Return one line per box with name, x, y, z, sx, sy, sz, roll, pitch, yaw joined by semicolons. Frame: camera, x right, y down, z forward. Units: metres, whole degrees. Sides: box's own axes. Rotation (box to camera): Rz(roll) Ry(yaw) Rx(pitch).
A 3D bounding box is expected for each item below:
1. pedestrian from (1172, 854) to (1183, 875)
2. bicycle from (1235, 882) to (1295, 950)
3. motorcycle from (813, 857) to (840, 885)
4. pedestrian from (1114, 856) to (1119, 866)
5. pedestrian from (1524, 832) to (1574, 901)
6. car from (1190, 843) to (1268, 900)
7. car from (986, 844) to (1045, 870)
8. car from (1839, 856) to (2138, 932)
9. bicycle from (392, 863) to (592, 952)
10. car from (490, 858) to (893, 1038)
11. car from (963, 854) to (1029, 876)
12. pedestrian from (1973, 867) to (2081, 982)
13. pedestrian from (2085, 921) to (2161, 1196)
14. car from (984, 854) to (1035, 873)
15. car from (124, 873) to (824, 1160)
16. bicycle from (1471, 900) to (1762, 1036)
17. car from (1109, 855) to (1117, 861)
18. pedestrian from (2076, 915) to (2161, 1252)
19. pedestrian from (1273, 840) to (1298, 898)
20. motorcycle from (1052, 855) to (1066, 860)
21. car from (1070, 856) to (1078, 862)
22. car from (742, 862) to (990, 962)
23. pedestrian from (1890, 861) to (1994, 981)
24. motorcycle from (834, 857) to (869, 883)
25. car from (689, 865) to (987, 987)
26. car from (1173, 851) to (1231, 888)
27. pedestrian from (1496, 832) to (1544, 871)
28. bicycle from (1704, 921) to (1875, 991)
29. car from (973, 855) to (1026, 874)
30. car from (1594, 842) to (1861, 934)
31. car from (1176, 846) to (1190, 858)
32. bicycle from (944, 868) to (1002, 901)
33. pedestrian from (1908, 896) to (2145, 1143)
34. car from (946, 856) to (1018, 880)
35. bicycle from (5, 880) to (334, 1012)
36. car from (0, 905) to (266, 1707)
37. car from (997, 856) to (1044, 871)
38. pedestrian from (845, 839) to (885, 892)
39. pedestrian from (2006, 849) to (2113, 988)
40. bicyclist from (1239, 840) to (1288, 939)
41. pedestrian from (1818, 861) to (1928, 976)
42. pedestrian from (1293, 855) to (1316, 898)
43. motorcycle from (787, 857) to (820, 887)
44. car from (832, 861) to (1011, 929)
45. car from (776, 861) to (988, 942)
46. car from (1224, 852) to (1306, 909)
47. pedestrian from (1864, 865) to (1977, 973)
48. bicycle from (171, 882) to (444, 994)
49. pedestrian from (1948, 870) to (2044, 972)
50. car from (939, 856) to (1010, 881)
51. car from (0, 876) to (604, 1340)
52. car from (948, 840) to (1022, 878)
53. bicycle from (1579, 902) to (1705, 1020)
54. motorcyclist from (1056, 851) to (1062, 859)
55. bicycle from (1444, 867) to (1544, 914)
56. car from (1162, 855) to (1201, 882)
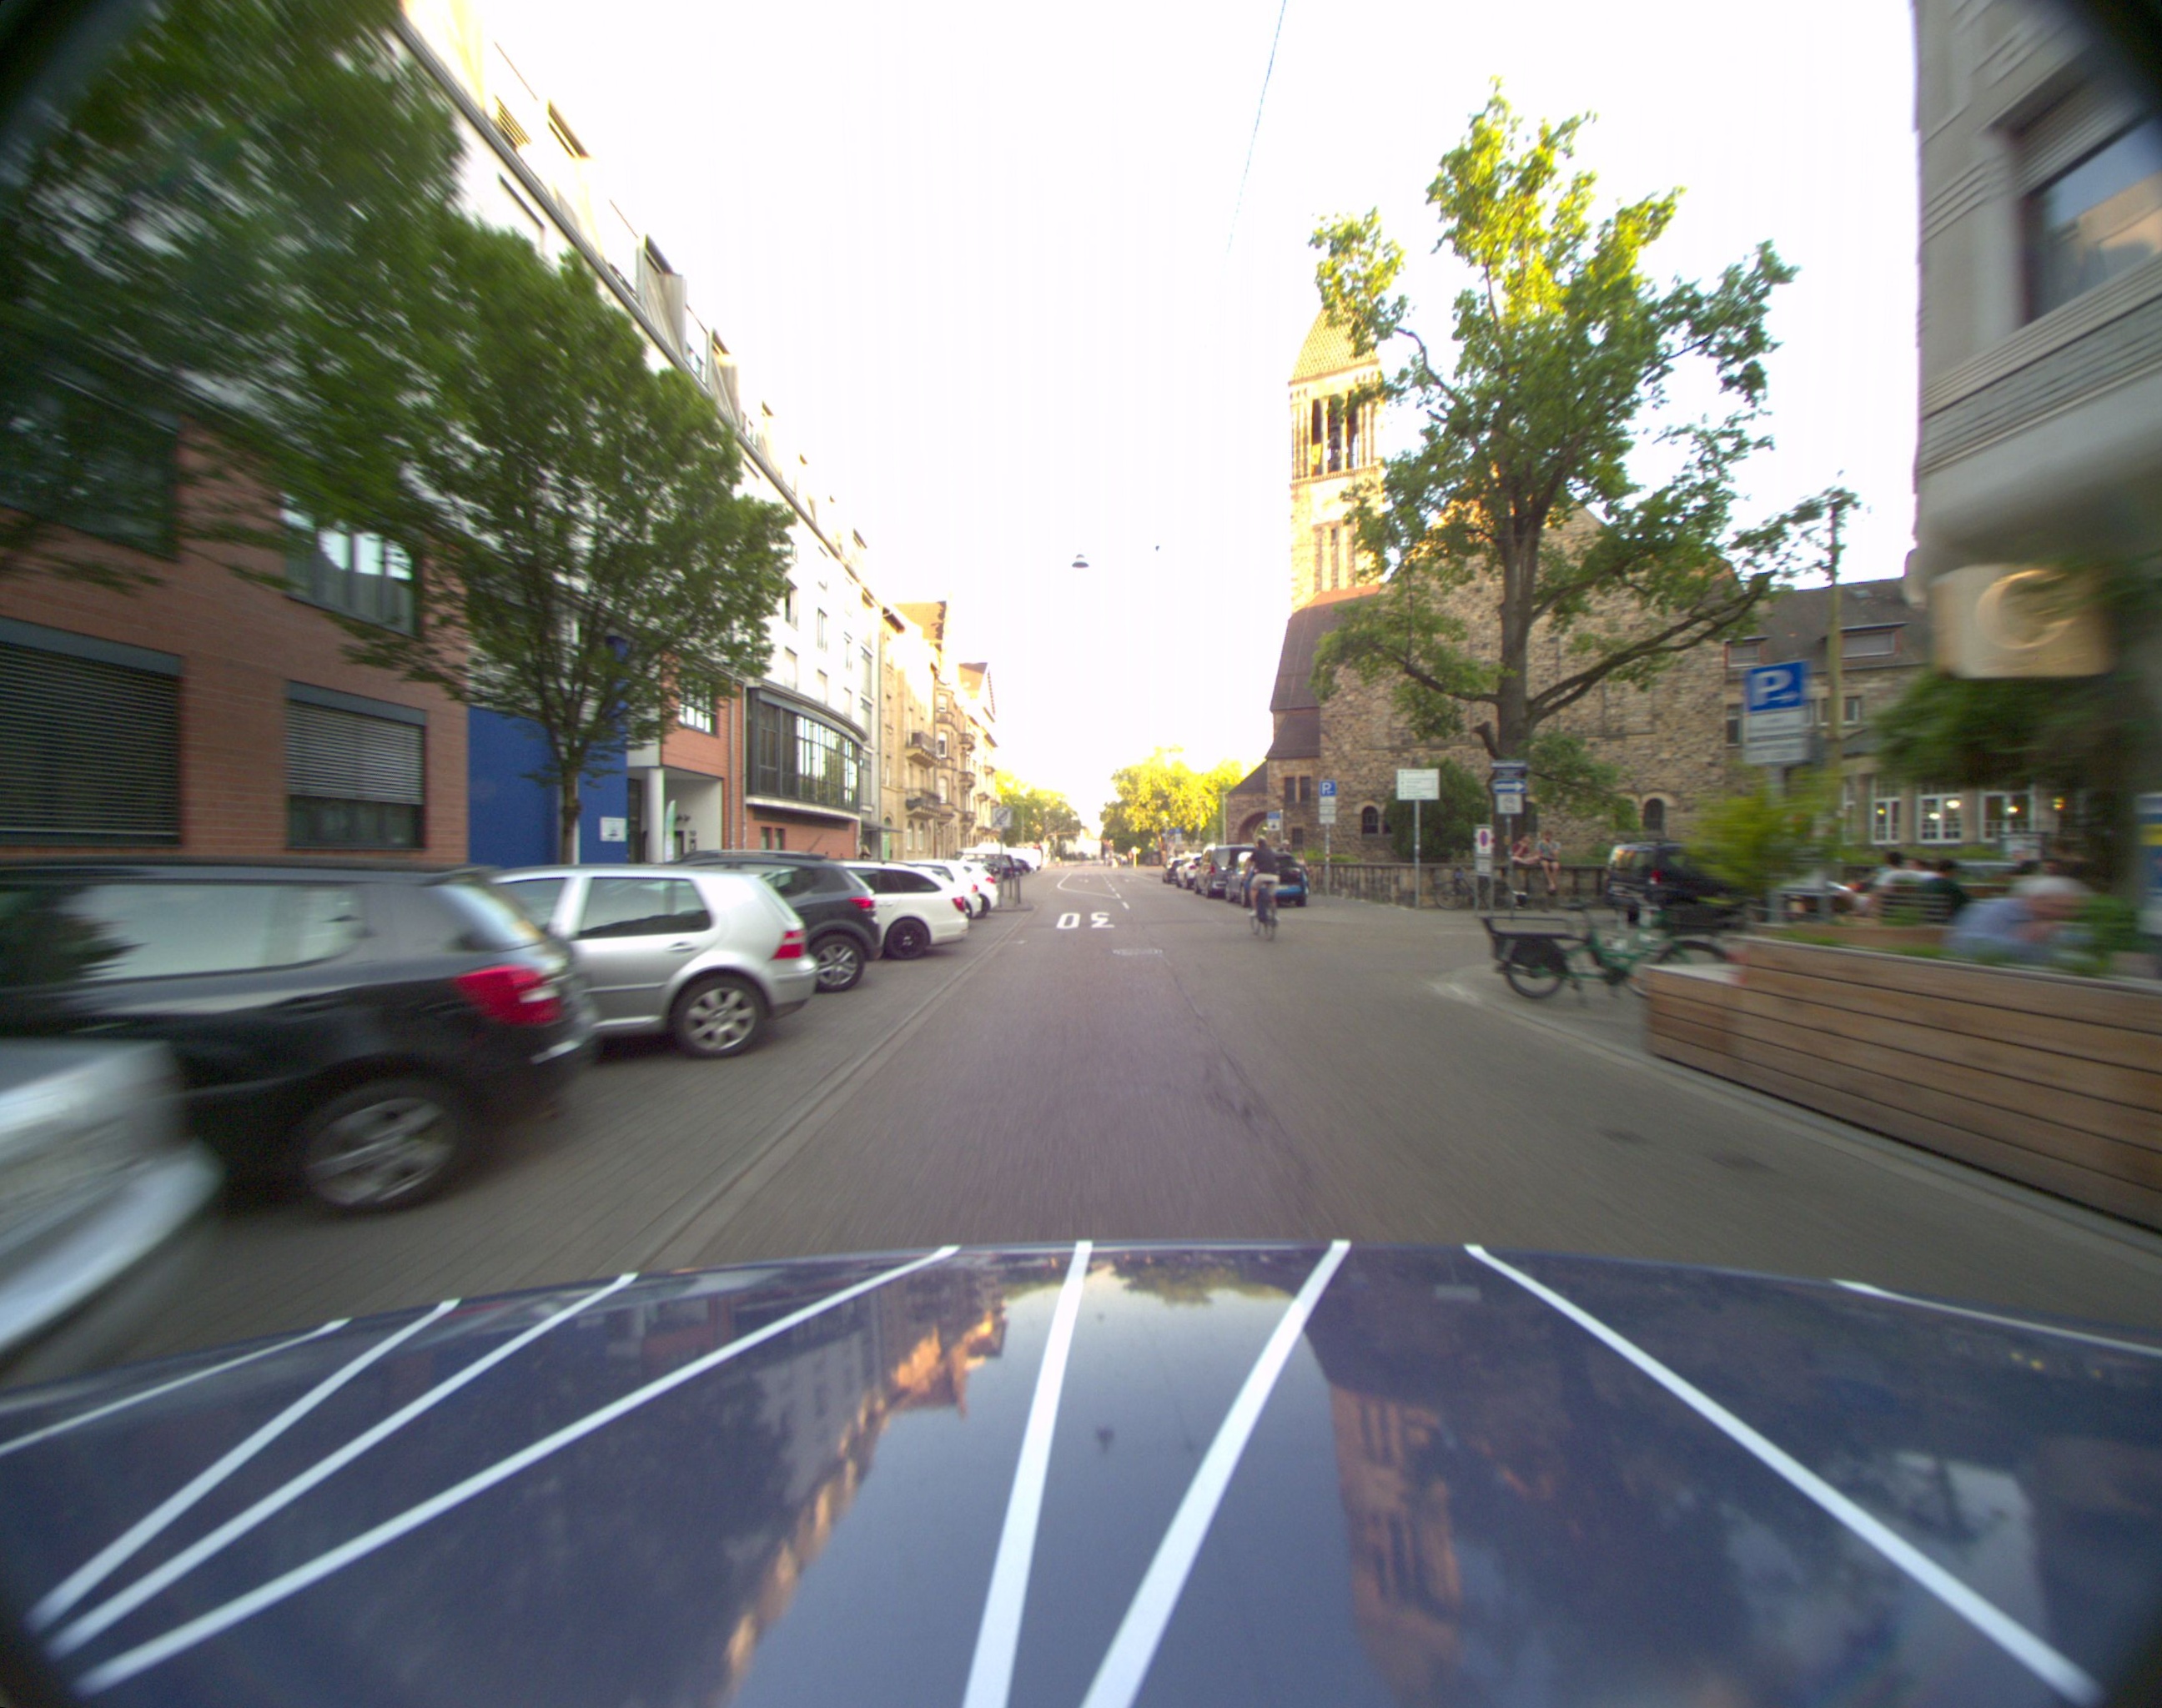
pedestrian;7.981;0.835;62.803;0.716;1.715;0.691;0;1;-9
bicycle;3.207;1.049;13.385;0.616;1.034;1.904;0;0;1
motorcycle;-10.753;0.704;32.158;0.778;1.133;2.413;1;0;-12
pedestrian;5.894;1.169;126.313;0.745;1.619;0.661;0;0;18
pedestrian;11.735;0.308;19.078;0.708;1.711;0.837;0;0;-1
car;5.313;0.583;27.896;1.998;1.855;5.290;-1;0;2
car;-6.752;0.349;78.736;5.897;2.537;2.189;1;2;-40
car;18.880;0.807;15.952;4.210;1.491;1.721;0;0;0
bicycle;-8.394;0.747;10.875;2.351;1.092;0.680;3;1;3
car;-4.110;0.834;8.356;3.612;1.571;1.712;0;0;-32
car;-6.241;0.817;55.737;4.407;1.478;1.839;2;0;-30
pedestrian;12.266;0.896;9.869;0.573;1.435;0.644;0;0;1
pedestrian;5.560;1.016;3.652;0.538;1.317;0.705;-1;1;1
car;-6.265;0.836;66.888;4.107;1.598;1.811;2;0;-37
car;-3.943;0.921;5.694;3.611;1.473;1.719;0;0;-27
bicycle;4.778;0.987;6.969;2.111;1.088;0.502;-1;-1;25
car;8.574;1.002;203.321;1.827;1.565;4.001;-1;0;5
pedestrian;4.602;0.922;2.897;0.610;1.317;0.770;-1;1;0
pedestrian;6.765;0.484;25.116;0.584;1.894;0.803;0;0;-3
motorcycle;-3.765;0.552;131.539;2.288;0.917;0.621;0;0;-25
car;-1.844;1.322;208.609;1.794;1.571;4.001;0;0;4
car;-3.831;0.933;13.689;4.006;1.514;1.705;0;2;-30
pedestrian;10.907;0.825;9.647;0.573;1.460;0.644;0;0;-1
motorcycle;-10.607;0.716;35.216;0.802;1.133;2.440;2;0;0
car;-3.594;0.941;11.407;4.006;1.528;1.632;0;0;-30
car;5.489;0.682;34.946;1.876;1.582;4.468;0;0;-1
pedestrian;11.006;-0.062;19.055;0.708;0.975;0.837;0;0;-1
bicycle;8.816;1.243;9.558;0.424;0.691;1.779;0;-2;-2
car;-6.823;0.878;63.866;4.066;1.489;1.749;2;0;-35
car;13.594;0.679;16.211;3.996;1.833;1.891;0;0;4
car;16.933;-0.312;125.758;1.865;2.002;3.815;0;0;15
bicycle;-3.645;1.030;25.734;1.862;1.032;0.472;2;0;-1
pedestrian;5.588;0.936;4.537;0.538;1.317;0.705;-1;1;1
car;-6.545;0.876;50.290;4.363;1.494;1.909;0;0;-27
bicycle;-8.549;0.839;7.165;2.540;1.159;0.562;0;1;3
car;-4.136;0.921;0.599;4.393;1.525;1.803;0;0;-26
car;-6.070;0.934;76.012;4.264;1.445;1.994;1;1;-38
pedestrian;-8.546;0.444;30.089;0.608;2.002;0.857;22;2;1
pedestrian;11.643;0.750;9.055;0.542;1.612;0.546;0;1;0
bicyclist;3.204;0.606;13.402;0.604;1.675;1.142;0;0;1
pedestrian;10.997;0.866;10.578;0.703;1.531;0.783;0;0;-1
pedestrian;7.409;0.725;25.172;0.533;1.397;0.659;-2;1;1
motorcycle;-10.840;0.680;29.747;0.590;1.097;2.083;3;0;-2
car;-3.921;0.940;18.823;4.006;1.498;1.766;0;0;-28
car;-4.230;0.928;16.284;4.007;1.464;1.870;0;2;-32
car;5.354;0.723;22.578;1.644;1.546;4.005;-1;0;3
pedestrian;11.776;0.886;10.681;0.703;1.460;0.783;0;0;-1
bicycle;-8.511;0.906;8.398;2.540;1.159;0.562;0;1;3
pedestrian;13.019;0.930;10.829;0.573;1.403;0.644;0;0;1
car;-6.704;0.872;47.792;4.076;1.483;1.720;0;0;-30
car;-4.217;0.896;3.194;3.611;1.525;1.559;0;0;-27
car;-6.686;0.321;52.810;4.733;2.532;1.914;0;1;-28
bicycle;5.718;1.031;7.845;0.424;1.006;1.721;-1;-1;14
motorcyclist;-3.749;0.174;131.544;0.830;1.510;0.621;0;0;-25
bicycle;10.142;0.888;18.706;2.144;1.127;0.555;0;1;2
car;5.604;0.783;42.892;1.787;1.427;4.316;0;0;2
